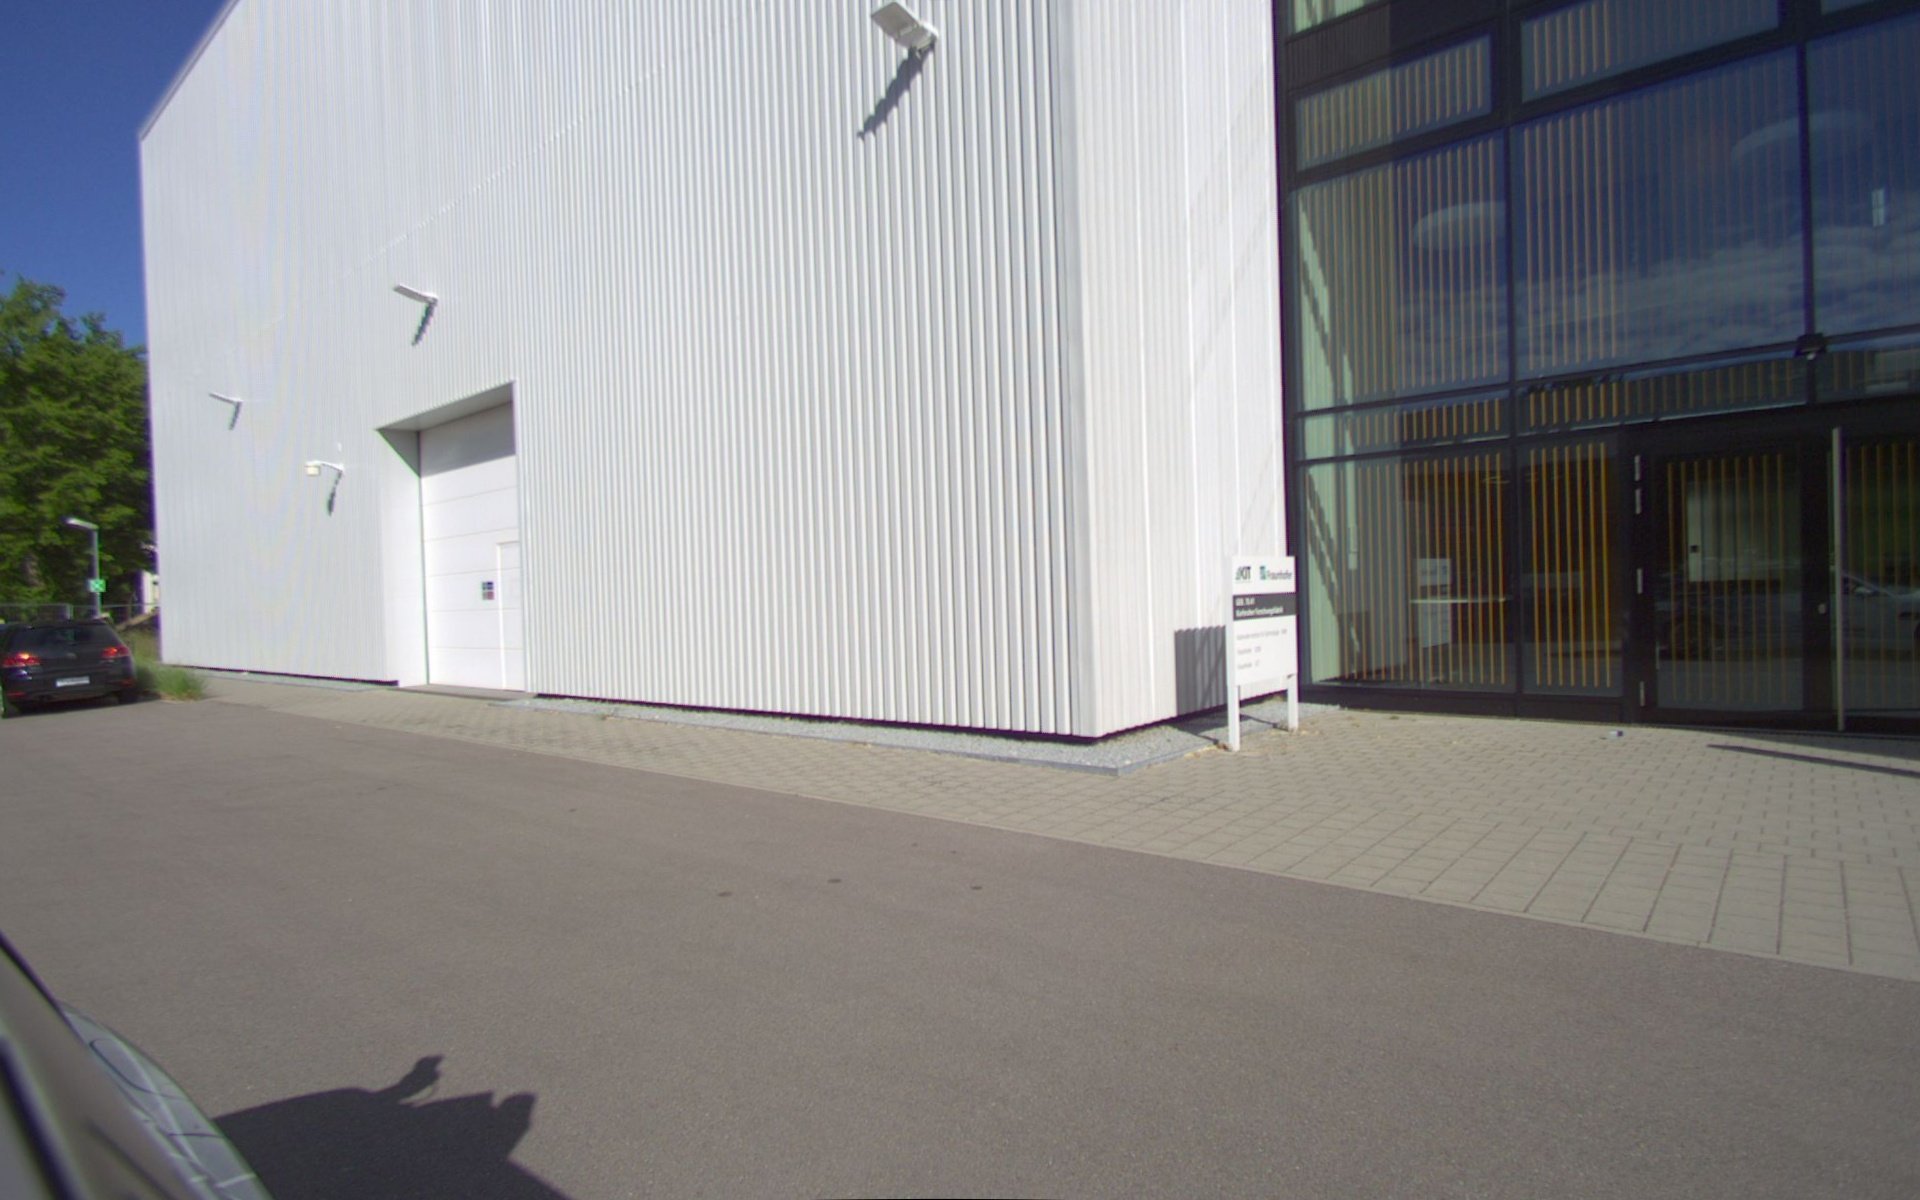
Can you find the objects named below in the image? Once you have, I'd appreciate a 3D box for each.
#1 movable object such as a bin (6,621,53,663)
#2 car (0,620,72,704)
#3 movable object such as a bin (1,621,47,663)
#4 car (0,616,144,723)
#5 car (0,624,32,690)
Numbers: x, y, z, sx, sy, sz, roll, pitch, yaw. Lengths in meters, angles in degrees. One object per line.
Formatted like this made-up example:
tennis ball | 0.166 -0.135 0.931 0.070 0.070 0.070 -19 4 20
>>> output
movable object such as a bin | -33.279 1.489 36.183 1.288 1.445 1.126 -2 -2 41
car | -19.062 1.235 20.097 3.518 1.499 1.533 -3 1 39
movable object such as a bin | -34.296 1.527 37.090 1.279 1.489 1.126 -3 -2 41
car | -15.399 1.110 17.088 4.312 1.456 1.738 -2 2 41
car | -23.251 1.382 23.669 3.794 1.459 1.695 -3 1 39
